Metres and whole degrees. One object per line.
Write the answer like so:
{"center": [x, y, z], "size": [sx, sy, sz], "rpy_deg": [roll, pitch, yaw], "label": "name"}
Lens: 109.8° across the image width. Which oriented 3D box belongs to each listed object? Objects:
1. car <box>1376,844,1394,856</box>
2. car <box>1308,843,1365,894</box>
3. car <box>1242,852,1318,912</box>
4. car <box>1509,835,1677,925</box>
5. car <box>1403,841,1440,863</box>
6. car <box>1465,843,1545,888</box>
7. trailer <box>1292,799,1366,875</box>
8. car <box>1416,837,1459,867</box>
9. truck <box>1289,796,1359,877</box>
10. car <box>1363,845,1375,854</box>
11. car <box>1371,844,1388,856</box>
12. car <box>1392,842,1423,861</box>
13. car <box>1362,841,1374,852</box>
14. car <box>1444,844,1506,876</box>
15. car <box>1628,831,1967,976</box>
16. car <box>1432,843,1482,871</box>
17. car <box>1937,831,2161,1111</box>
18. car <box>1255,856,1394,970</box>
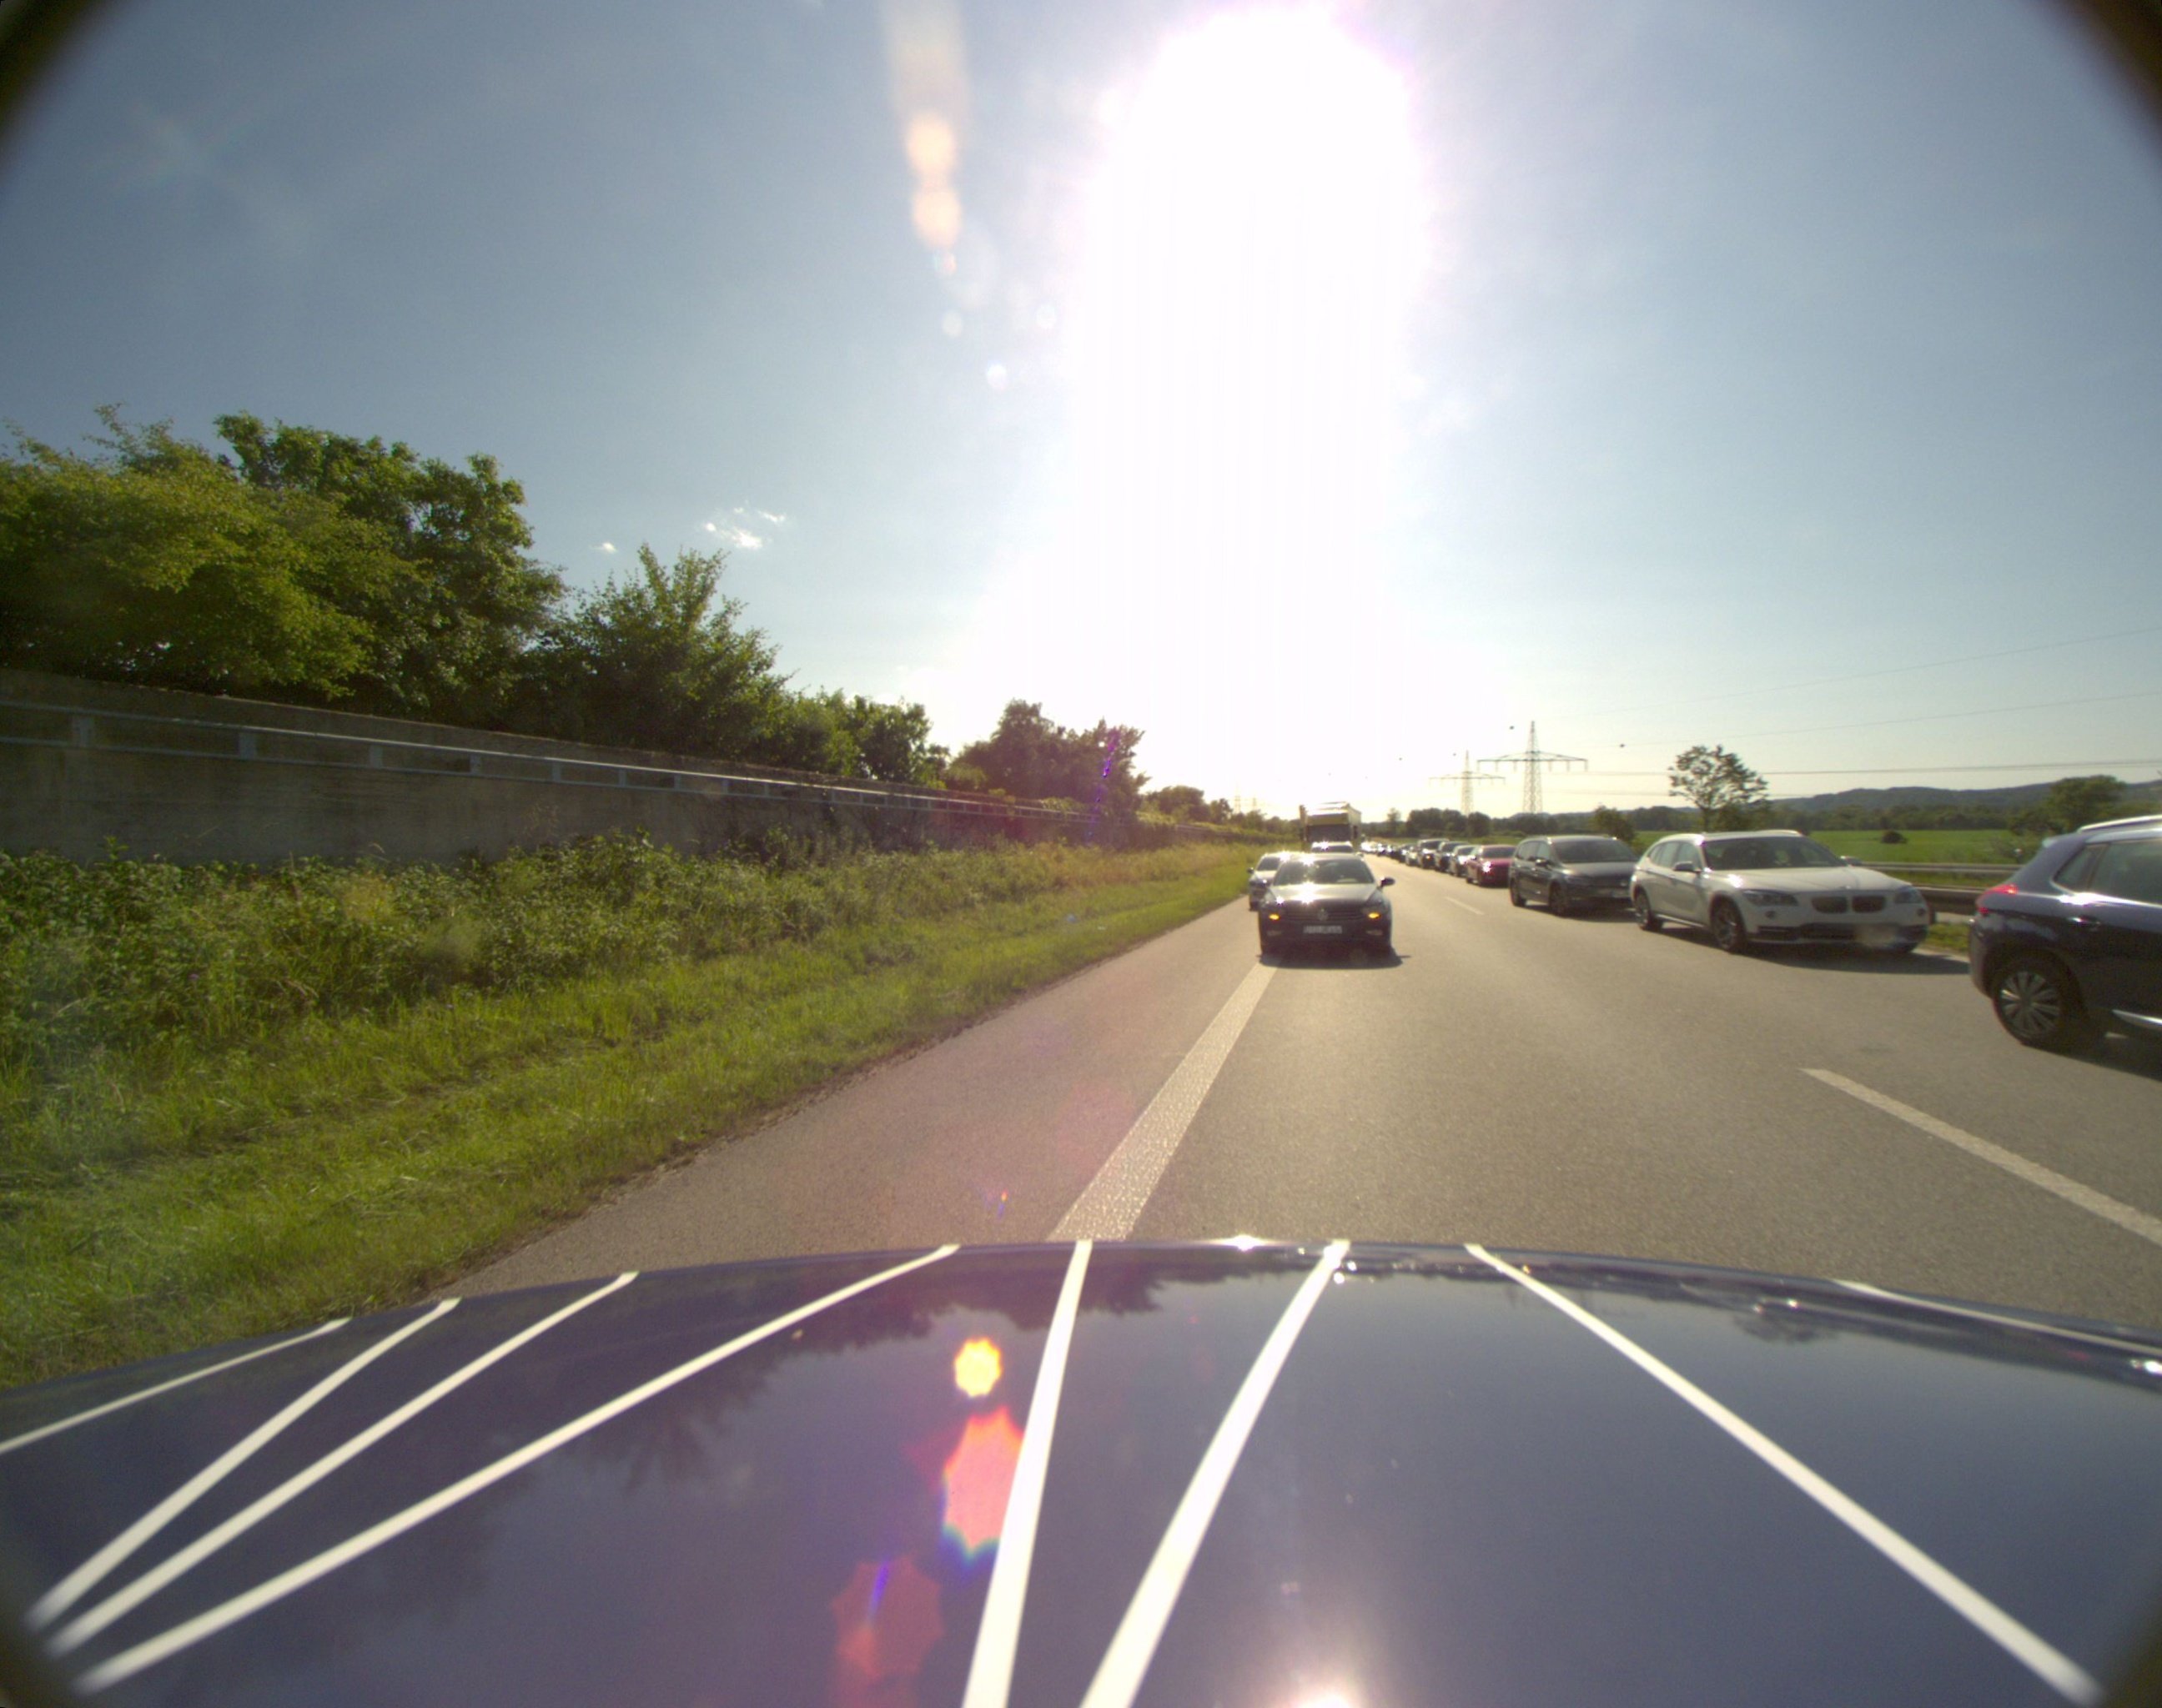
{"center": [36.947, -0.482, 92.423], "size": [1.817, 1.450, 4.123], "rpy_deg": [-1, 1, 19], "label": "car"}
{"center": [9.083, 0.471, 27.017], "size": [1.714, 1.614, 4.331], "rpy_deg": [-2, 0, 19], "label": "car"}
{"center": [5.676, 0.717, 21.340], "size": [1.714, 1.417, 4.331], "rpy_deg": [-2, 0, 19], "label": "car"}
{"center": [10.519, 0.473, 15.976], "size": [1.817, 1.606, 4.122], "rpy_deg": [-2, 0, 18], "label": "car"}
{"center": [24.281, -0.156, 54.340], "size": [1.996, 1.522, 4.005], "rpy_deg": [-1, 1, 18], "label": "car"}
{"center": [14.959, 0.366, 27.018], "size": [1.817, 1.450, 4.123], "rpy_deg": [-1, 1, 20], "label": "car"}
{"center": [16.242, -1.097, 48.827], "size": [3.383, 4.089, 13.972], "rpy_deg": [-2, 1, 22], "label": "trailer"}
{"center": [22.210, -0.127, 47.459], "size": [1.899, 1.777, 4.205], "rpy_deg": [-1, 1, 18], "label": "car"}
{"center": [13.924, -0.946, 43.166], "size": [3.329, 4.089, 6.979], "rpy_deg": [-2, 1, 20], "label": "truck"}
{"center": [47.440, -0.775, 125.282], "size": [1.817, 1.450, 4.123], "rpy_deg": [-1, 1, 20], "label": "car"}
{"center": [39.461, -0.522, 100.479], "size": [1.817, 1.450, 4.123], "rpy_deg": [-3, 0, 19], "label": "car"}
{"center": [27.111, -0.195, 63.206], "size": [1.996, 1.522, 4.005], "rpy_deg": [-1, 1, 18], "label": "car"}
{"center": [50.614, -1.365, 134.072], "size": [1.810, 1.783, 3.778], "rpy_deg": [-1, 1, 18], "label": "car"}
{"center": [18.146, 0.244, 35.139], "size": [1.892, 1.390, 4.005], "rpy_deg": [-1, 1, 18], "label": "car"}
{"center": [9.341, 0.530, 10.436], "size": [1.830, 1.564, 4.169], "rpy_deg": [-1, 0, 19], "label": "car"}
{"center": [20.180, 0.128, 40.888], "size": [1.891, 1.447, 4.005], "rpy_deg": [-1, 1, 19], "label": "car"}
{"center": [6.701, 0.646, 3.538], "size": [1.690, 1.526, 3.953], "rpy_deg": [-3, 0, 15], "label": "car"}
{"center": [3.907, 0.806, 12.127], "size": [1.714, 1.405, 4.331], "rpy_deg": [-2, 0, 19], "label": "car"}
